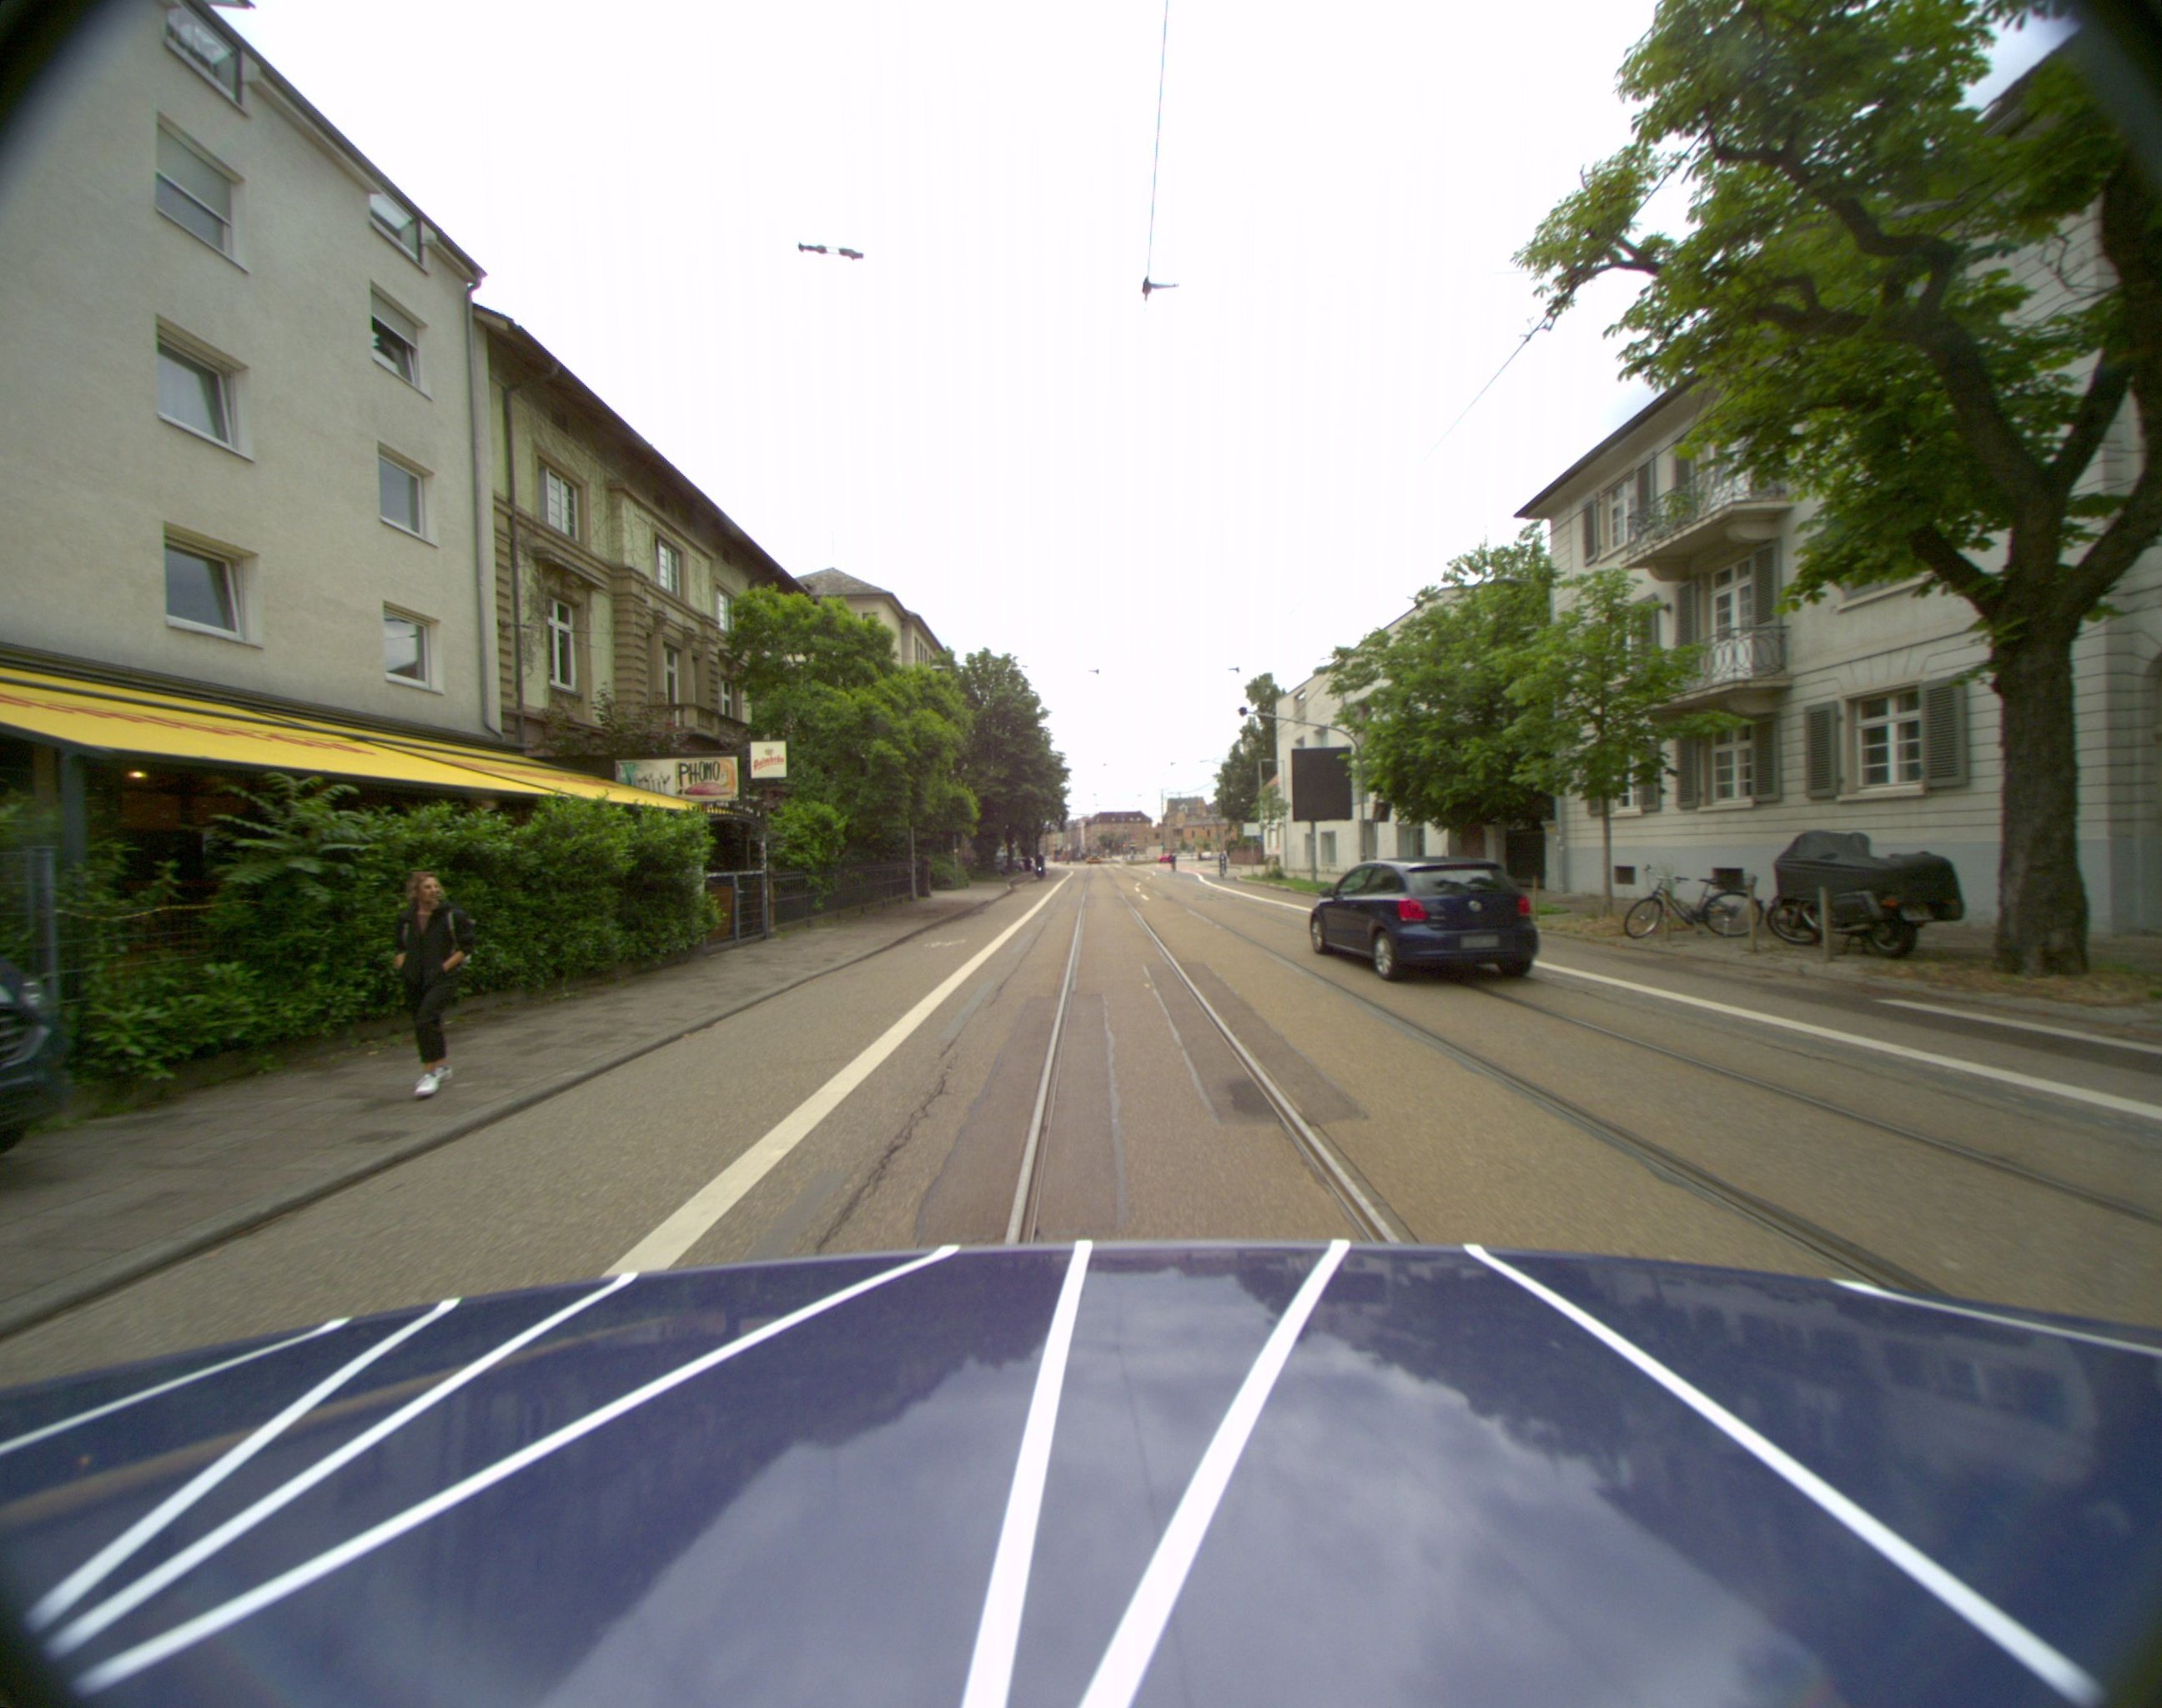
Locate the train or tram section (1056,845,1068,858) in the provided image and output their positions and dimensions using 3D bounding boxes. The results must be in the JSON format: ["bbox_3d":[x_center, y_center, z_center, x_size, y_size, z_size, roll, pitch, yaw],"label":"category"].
[{"bbox_3d":[-4.234,-0.578,172.555,2.609,2.936,4.965,-2,1,-1],"label":"train or tram section"}]

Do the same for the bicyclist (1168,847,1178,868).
[{"bbox_3d":[8.121,0.320,67.210,0.793,1.773,1.148,2,1,9],"label":"bicyclist"}]

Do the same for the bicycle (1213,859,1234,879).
[{"bbox_3d":[9.069,0.950,48.352,0.774,1.205,1.872,-1,0,28],"label":"bicycle"}]

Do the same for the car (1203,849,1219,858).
[{"bbox_3d":[22.976,-0.177,134.501,1.491,1.500,3.476,-1,1,34],"label":"car"}]

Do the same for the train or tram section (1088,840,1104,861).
[{"bbox_3d":[2.701,-0.645,141.131,2.631,3.659,5.984,-2,1,-1],"label":"train or tram section"}]

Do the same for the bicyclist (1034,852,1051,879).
[{"bbox_3d":[-2.660,0.800,52.594,0.881,1.811,1.479,-2,-1,6],"label":"bicyclist"}]

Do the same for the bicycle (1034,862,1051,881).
[{"bbox_3d":[-2.650,1.208,52.482,0.852,1.234,2.311,-2,-1,6],"label":"bicycle"}]

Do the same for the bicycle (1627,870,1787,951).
[{"bbox_3d":[9.373,0.859,11.448,1.744,1.122,0.518,-3,0,19],"label":"bicycle"}]

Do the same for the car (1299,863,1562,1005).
[{"bbox_3d":[4.217,0.869,9.851,1.733,1.400,3.655,-2,0,1],"label":"car"}]

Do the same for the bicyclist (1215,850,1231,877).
[{"bbox_3d":[9.048,0.596,48.329,0.774,1.681,0.870,-1,1,28],"label":"bicyclist"}]

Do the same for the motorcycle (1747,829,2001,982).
[{"bbox_3d":[9.582,0.553,9.389,0.834,1.633,2.481,-1,0,9],"label":"motorcycle"}]

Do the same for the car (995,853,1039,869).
[{"bbox_3d":[-6.796,0.751,80.512,4.330,1.542,1.747,-2,0,-22],"label":"car"}]

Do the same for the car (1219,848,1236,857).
[{"bbox_3d":[27.107,-0.256,140.444,1.682,1.641,3.988,-1,1,35],"label":"car"}]

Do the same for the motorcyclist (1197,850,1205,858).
[{"bbox_3d":[20.692,-0.011,131.041,1.074,1.477,1.253,-2,1,23],"label":"motorcyclist"}]

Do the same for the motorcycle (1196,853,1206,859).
[{"bbox_3d":[20.603,0.339,130.777,1.054,1.063,2.652,-2,0,23],"label":"motorcycle"}]

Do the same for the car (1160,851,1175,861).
[{"bbox_3d":[13.754,0.340,120.306,1.758,1.490,4.004,0,1,14],"label":"car"}]

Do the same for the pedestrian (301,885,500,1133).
[{"bbox_3d":[-5.066,1.095,5.725,0.625,1.661,0.960,1,1,0],"label":"pedestrian"}]

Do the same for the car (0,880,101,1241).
[{"bbox_3d":[-7.597,1.058,3.368,4.290,1.798,1.824,0,0,3],"label":"car"}]

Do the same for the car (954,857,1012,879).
[{"bbox_3d":[-7.545,1.064,58.804,4.007,1.530,1.860,-1,0,-34],"label":"car"}]

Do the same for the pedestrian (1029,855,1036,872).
[{"bbox_3d":[-5.031,1.030,79.082,0.614,1.740,0.685,-2,1,-13],"label":"pedestrian"}]

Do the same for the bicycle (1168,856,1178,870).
[{"bbox_3d":[8.096,0.803,67.115,0.793,1.179,2.012,2,1,9],"label":"bicycle"}]

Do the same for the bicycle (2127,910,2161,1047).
[{"bbox_3d":[9.232,0.924,5.766,1.900,1.021,0.564,-3,1,-3],"label":"bicycle"}]

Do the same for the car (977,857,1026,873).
[{"bbox_3d":[-7.588,1.054,72.706,4.338,1.394,1.750,-1,0,-32],"label":"car"}]

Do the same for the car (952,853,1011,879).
[{"bbox_3d":[-7.305,0.836,55.826,3.846,1.810,1.803,-1,0,-30],"label":"car"}]
